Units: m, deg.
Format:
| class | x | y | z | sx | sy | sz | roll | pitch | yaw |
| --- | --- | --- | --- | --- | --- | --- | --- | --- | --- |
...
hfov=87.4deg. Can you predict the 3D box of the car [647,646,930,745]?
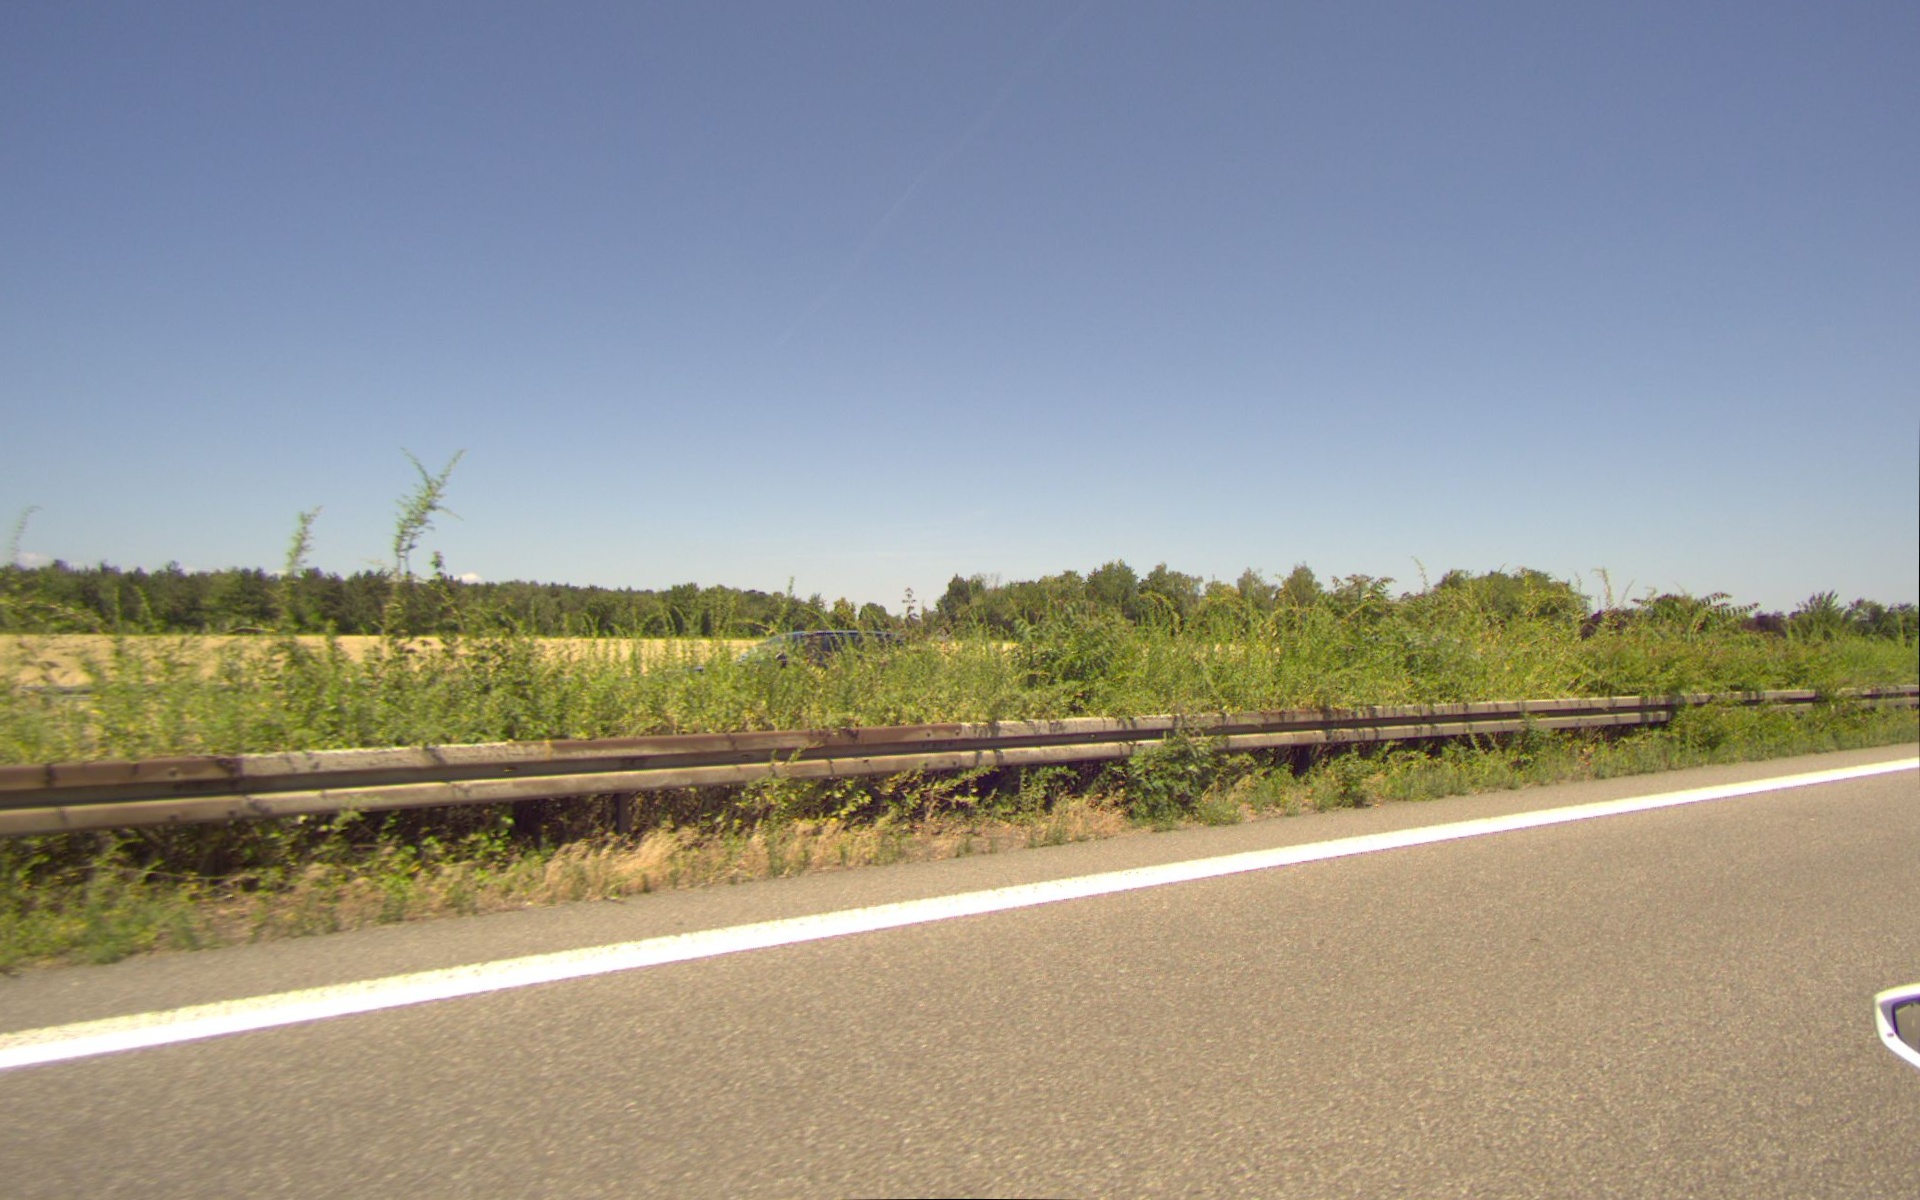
| class | x | y | z | sx | sy | sz | roll | pitch | yaw |
| --- | --- | --- | --- | --- | --- | --- | --- | --- | --- |
| car | -2.601 | 1.386 | 15.449 | 3.953 | 1.304 | 1.683 | 2 | -1 | -30 |
